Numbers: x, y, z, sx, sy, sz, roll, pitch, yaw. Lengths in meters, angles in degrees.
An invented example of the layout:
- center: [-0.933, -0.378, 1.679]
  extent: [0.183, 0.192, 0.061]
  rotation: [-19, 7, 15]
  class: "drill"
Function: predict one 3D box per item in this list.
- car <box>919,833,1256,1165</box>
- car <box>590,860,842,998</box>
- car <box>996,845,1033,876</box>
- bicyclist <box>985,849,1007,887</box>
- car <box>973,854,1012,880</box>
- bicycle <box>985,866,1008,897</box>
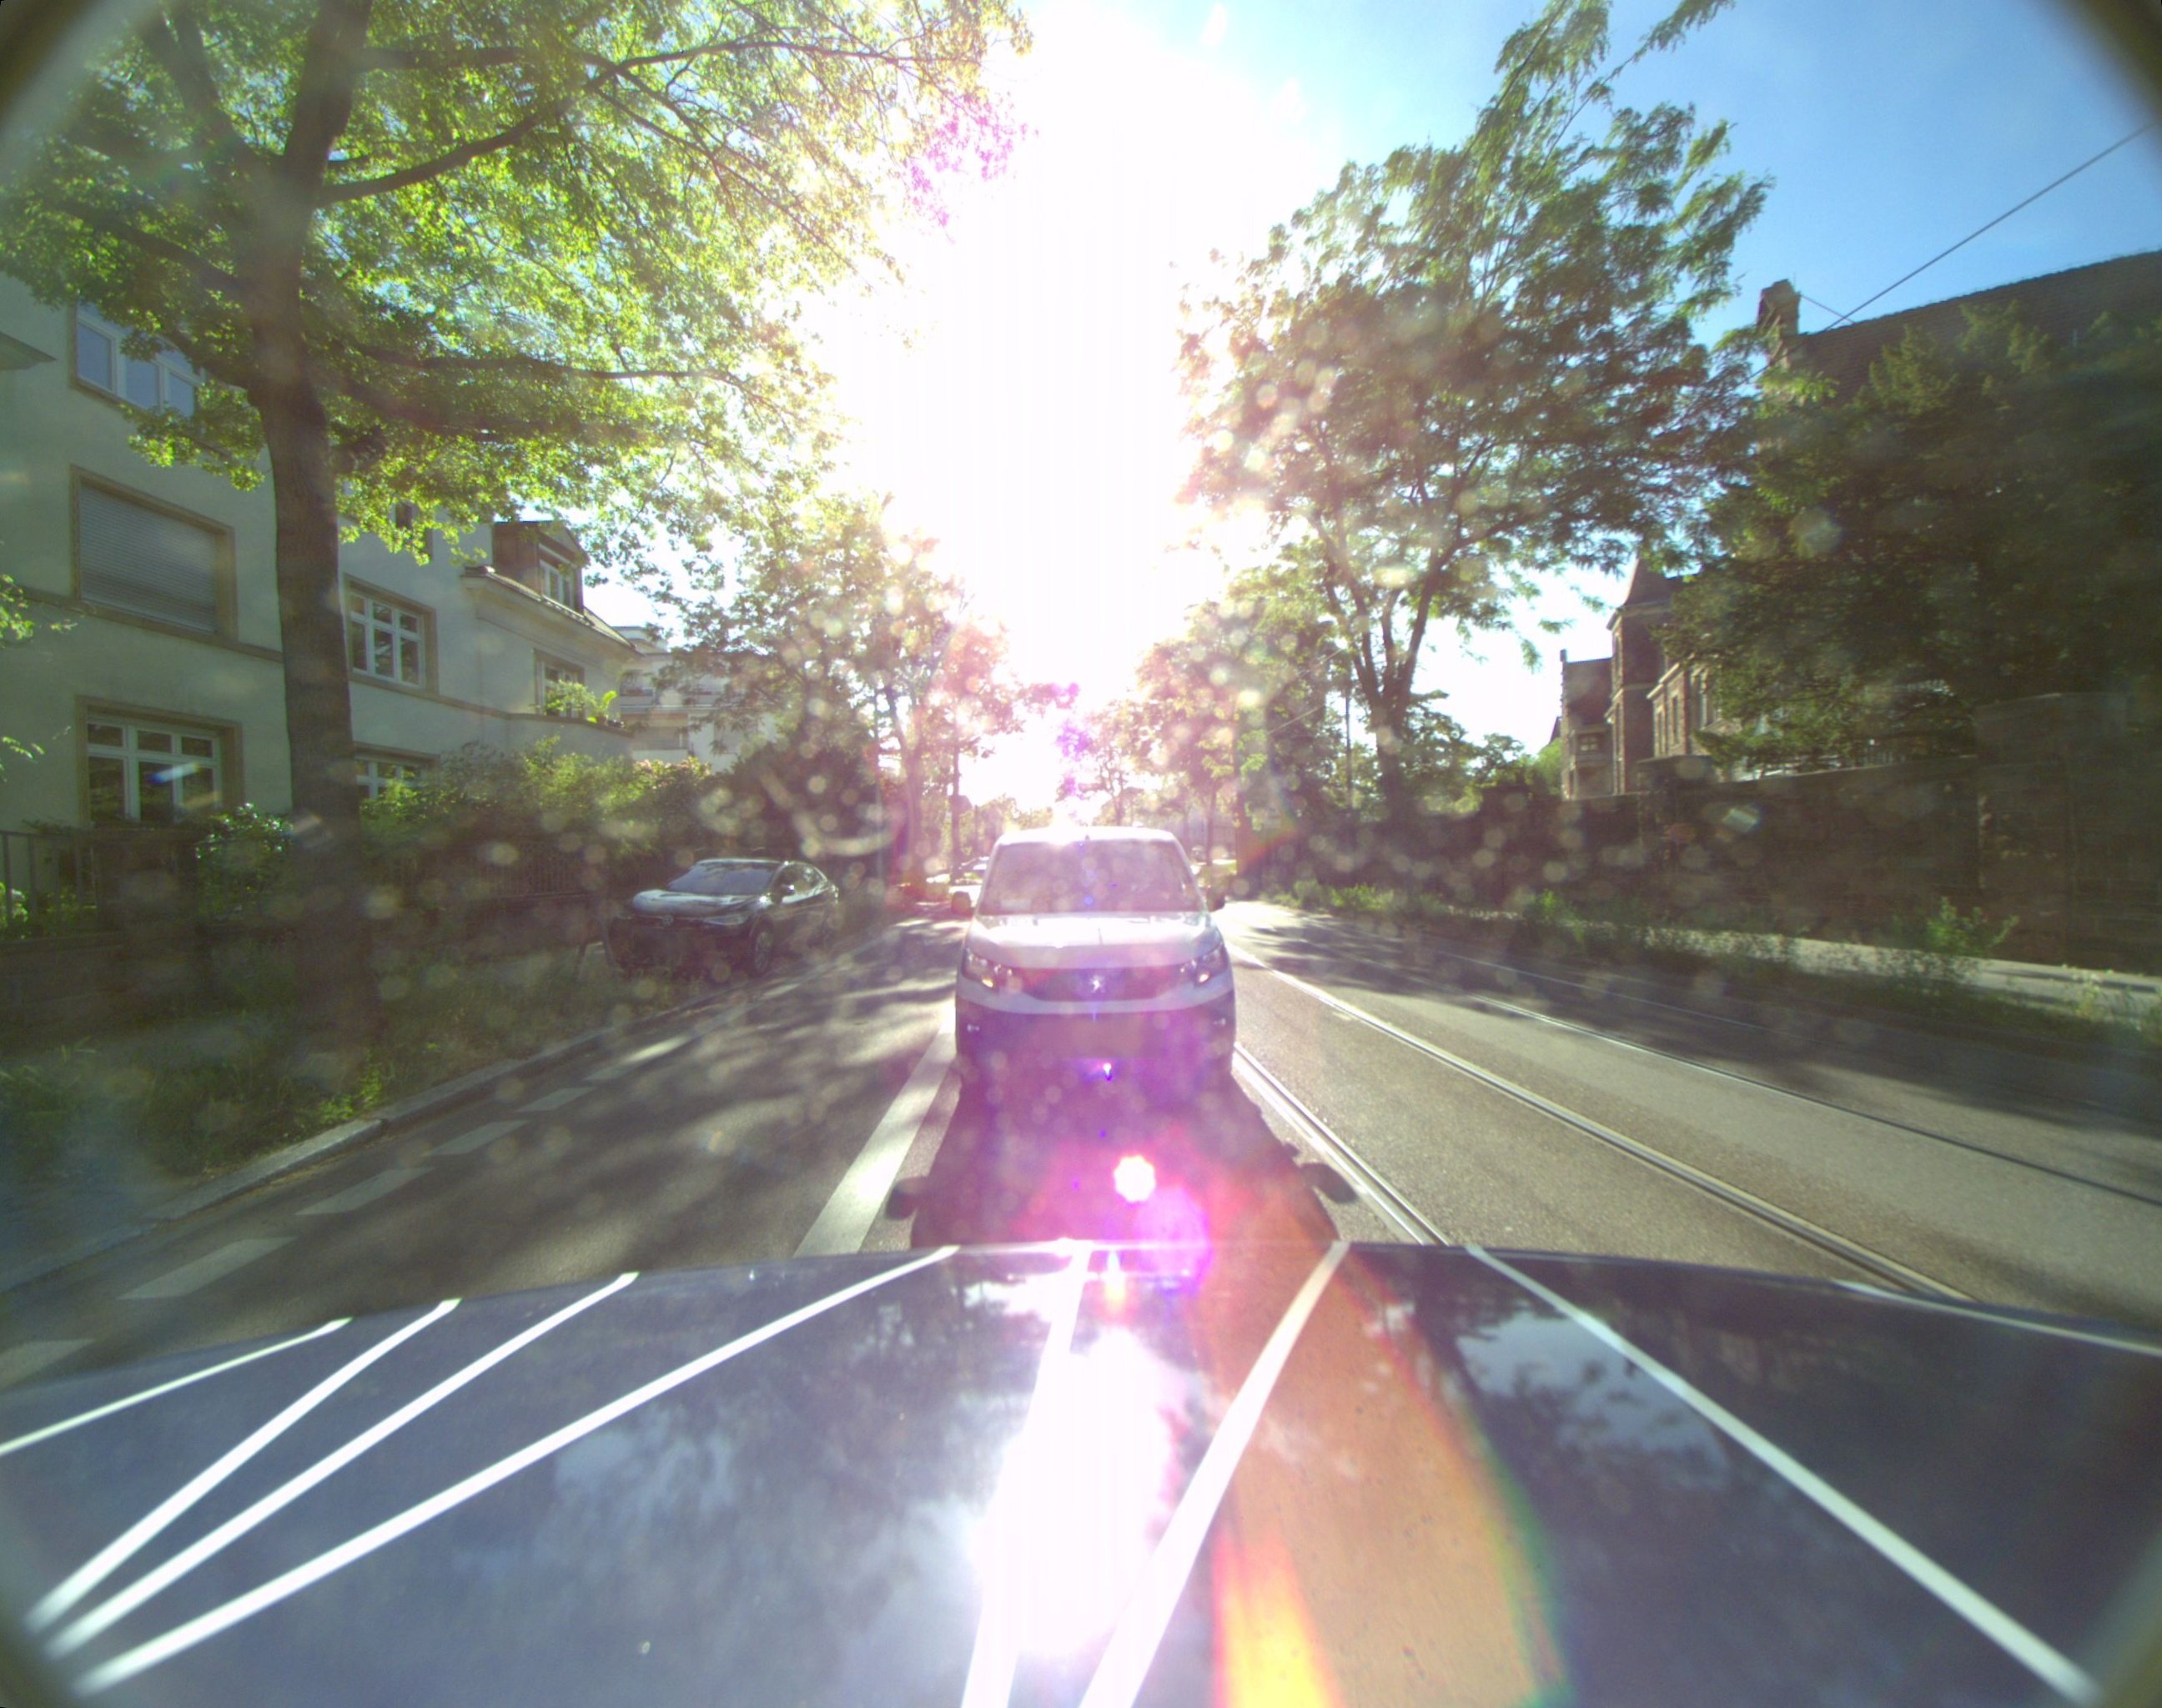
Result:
- center: [0.054, 0.785, 6.532]
  extent: [1.793, 1.770, 4.786]
  rotation: [-2, 0, 0]
  class: "car"
- center: [-5.154, 0.945, 11.437]
  extent: [1.743, 1.597, 4.091]
  rotation: [2, 0, 1]
  class: "car"
- center: [-4.491, 0.431, 51.926]
  extent: [1.998, 2.002, 4.583]
  rotation: [-2, 0, 1]
  class: "car"
- center: [-3.343, 0.537, 29.973]
  extent: [0.645, 1.479, 1.115]
  rotation: [-2, 1, 1]
  class: "bicyclist"
- center: [-5.243, 0.753, 45.460]
  extent: [1.787, 1.443, 4.000]
  rotation: [-2, 0, 1]
  class: "car"
- center: [-3.317, 1.049, 29.967]
  extent: [0.644, 1.137, 1.902]
  rotation: [-1, 0, 1]
  class: "bicycle"
